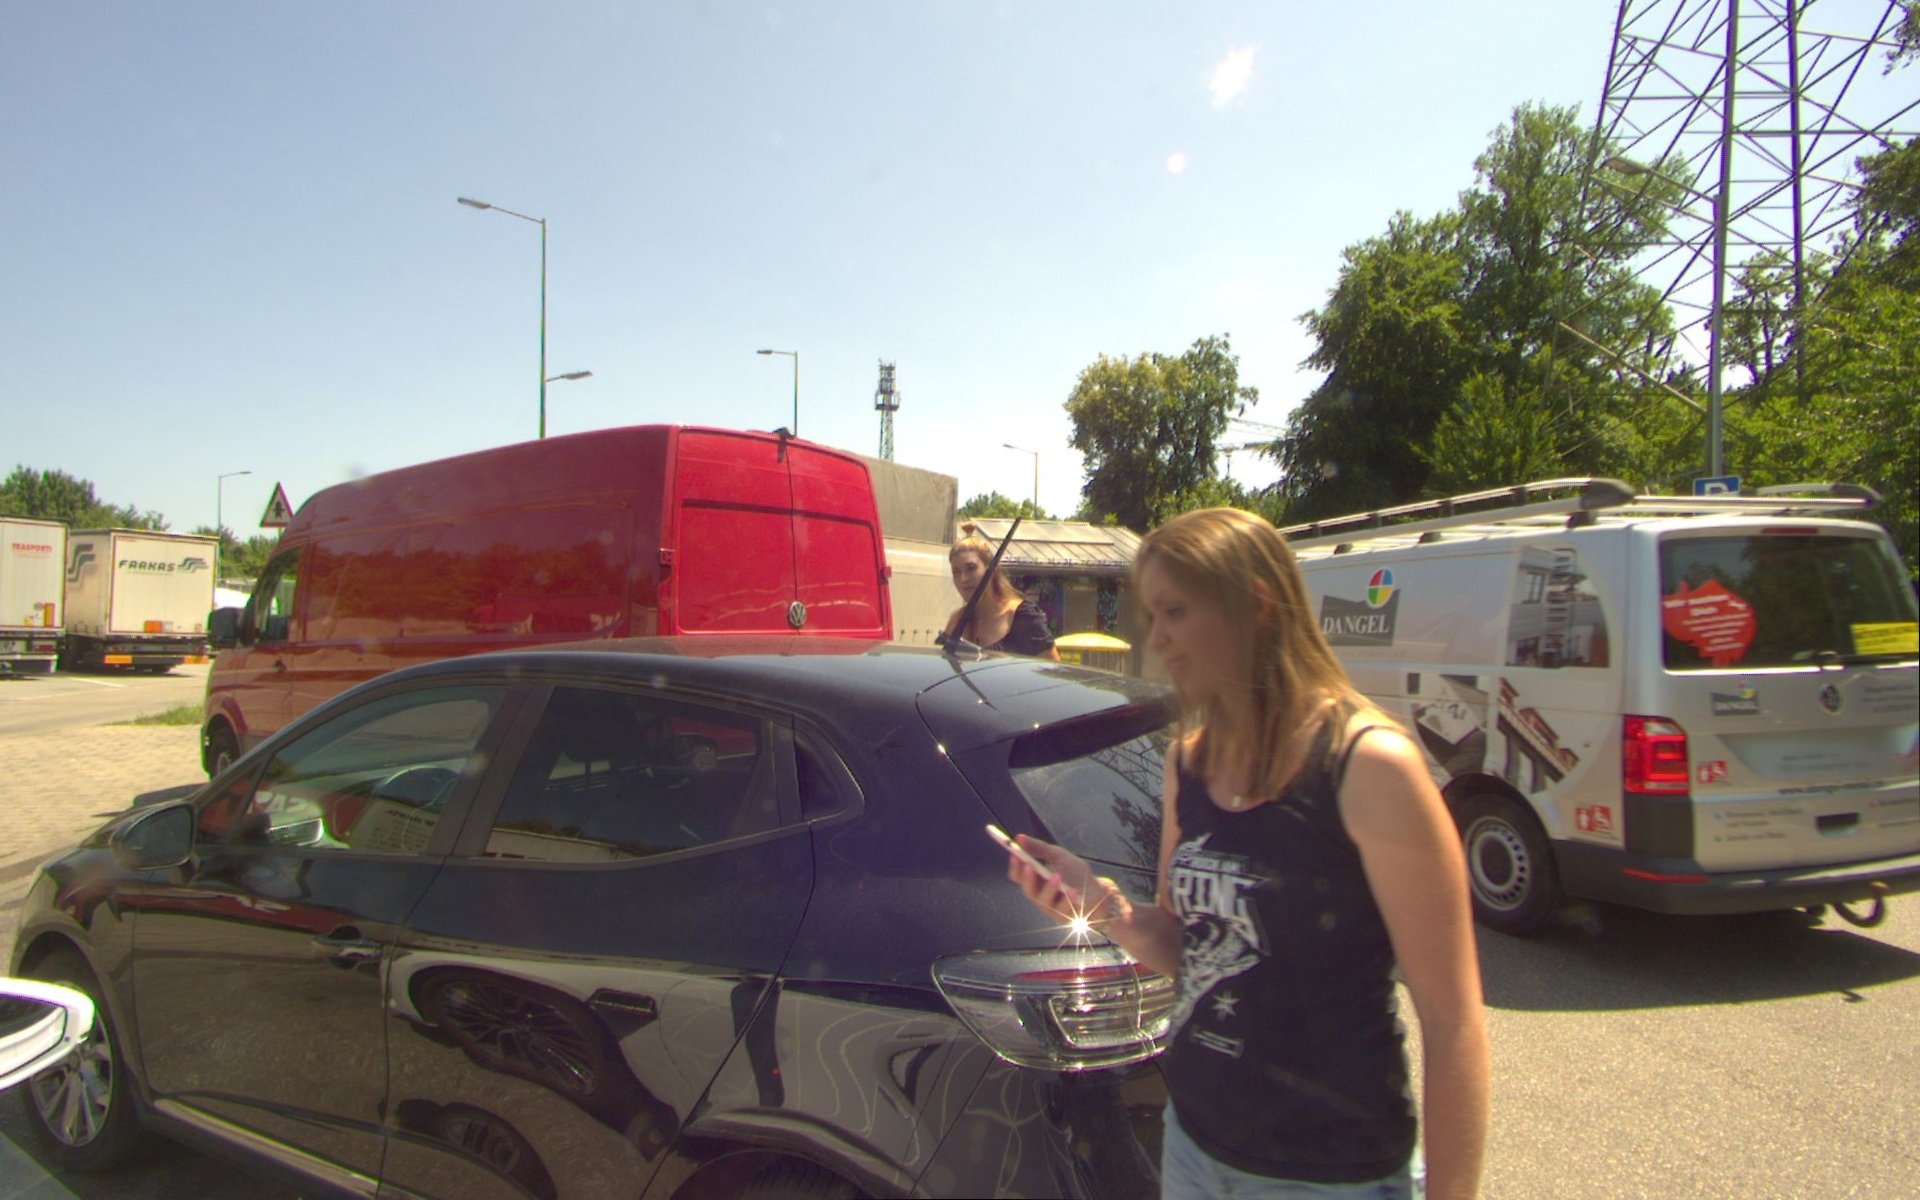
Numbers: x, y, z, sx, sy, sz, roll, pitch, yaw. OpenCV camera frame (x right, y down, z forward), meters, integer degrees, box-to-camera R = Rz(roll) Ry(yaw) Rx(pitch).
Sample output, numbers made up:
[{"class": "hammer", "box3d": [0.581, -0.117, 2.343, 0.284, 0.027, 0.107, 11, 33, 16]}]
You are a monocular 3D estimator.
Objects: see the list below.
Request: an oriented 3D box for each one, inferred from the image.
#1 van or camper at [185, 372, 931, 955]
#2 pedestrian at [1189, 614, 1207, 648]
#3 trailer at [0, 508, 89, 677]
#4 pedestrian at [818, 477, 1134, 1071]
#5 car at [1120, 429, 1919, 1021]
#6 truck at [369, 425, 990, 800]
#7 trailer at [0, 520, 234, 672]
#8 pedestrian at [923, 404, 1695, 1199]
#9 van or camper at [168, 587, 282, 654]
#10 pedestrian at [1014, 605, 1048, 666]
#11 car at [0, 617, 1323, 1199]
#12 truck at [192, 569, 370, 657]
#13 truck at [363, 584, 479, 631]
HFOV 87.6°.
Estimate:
[{"class": "van or camper", "box3d": [-3.346, 0.319, 7.329, 6.394, 2.688, 1.990, 0, -1, 36]}, {"class": "pedestrian", "box3d": [10.833, 1.419, 45.579, 0.577, 1.536, 0.592, 1, 0, -9]}, {"class": "trailer", "box3d": [-28.335, -0.331, 27.776, 12.255, 4.090, 2.862, 2, -1, 33]}, {"class": "pedestrian", "box3d": [0.074, 0.564, 3.769, 0.903, 1.896, 0.770, 1, -1, 32]}, {"class": "car", "box3d": [3.017, 0.502, 6.510, 1.964, 2.178, 5.306, 0, -1, -14]}, {"class": "truck", "box3d": [-3.241, 0.128, 10.535, 6.874, 2.828, 2.460, 0, -1, 35]}, {"class": "trailer", "box3d": [-27.274, -0.201, 31.441, 12.255, 4.090, 2.862, 2, -1, 33]}, {"class": "pedestrian", "box3d": [0.407, 0.668, 1.199, 0.642, 1.606, 0.648, 1, -1, -43]}, {"class": "van or camper", "box3d": [-30.392, 0.819, 41.362, 5.296, 2.595, 2.100, 0, -1, 34]}, {"class": "pedestrian", "box3d": [1.957, 0.973, 27.556, 0.751, 1.629, 0.756, 1, 0, -10]}, {"class": "car", "box3d": [-1.040, 0.830, 2.822, 3.706, 1.503, 1.615, 0, -1, 27]}, {"class": "truck", "box3d": [-31.673, 0.506, 46.453, 11.255, 3.615, 2.484, 2, -1, 33]}, {"class": "truck", "box3d": [-34.702, 0.467, 64.255, 9.637, 2.857, 2.121, 0, -1, 33]}]
